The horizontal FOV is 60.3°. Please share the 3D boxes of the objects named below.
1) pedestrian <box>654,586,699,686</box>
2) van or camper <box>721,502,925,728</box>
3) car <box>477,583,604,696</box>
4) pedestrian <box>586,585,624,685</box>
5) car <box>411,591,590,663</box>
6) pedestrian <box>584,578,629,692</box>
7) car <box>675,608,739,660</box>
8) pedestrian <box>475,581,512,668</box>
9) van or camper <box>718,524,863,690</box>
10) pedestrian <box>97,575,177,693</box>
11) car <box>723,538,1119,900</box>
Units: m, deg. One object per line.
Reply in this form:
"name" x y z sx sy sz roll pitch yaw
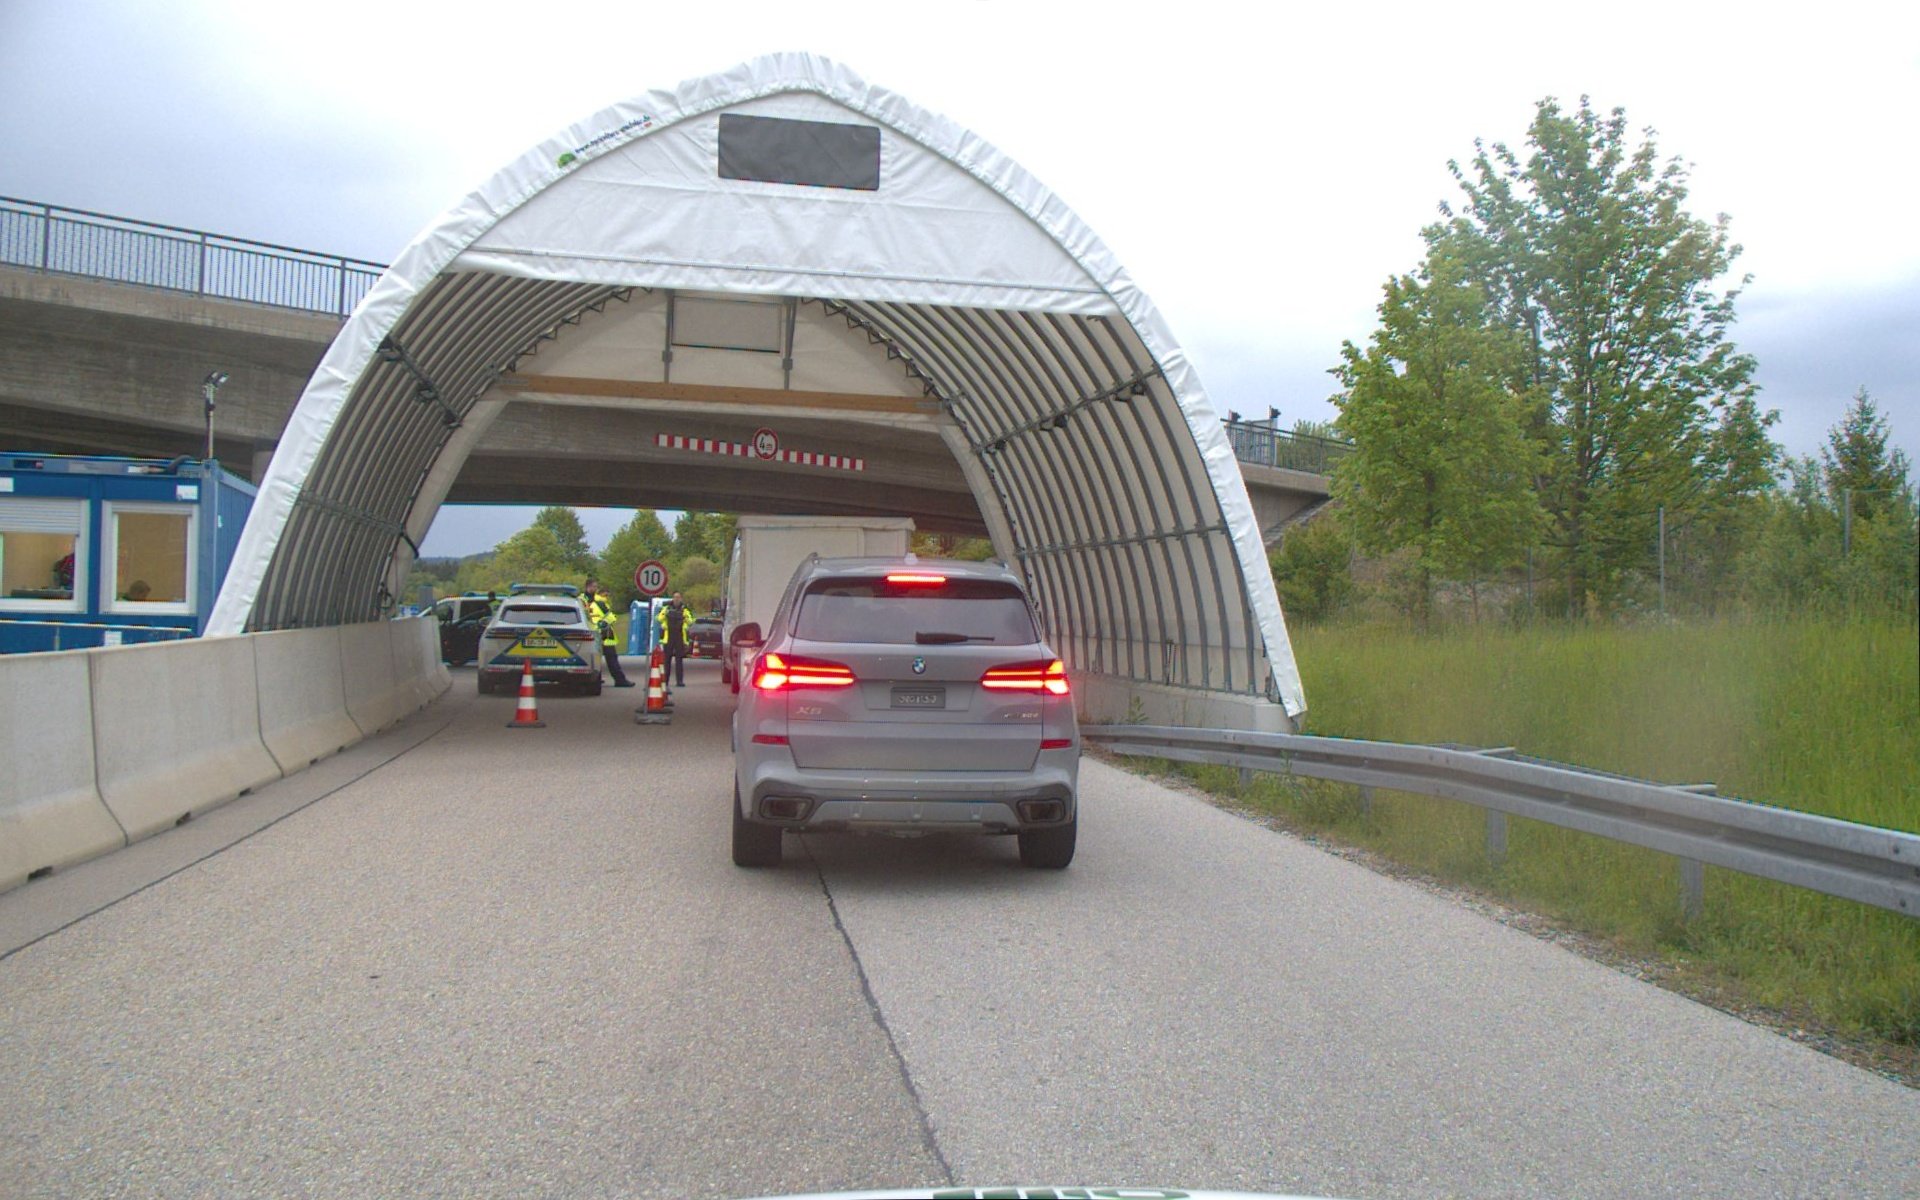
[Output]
"pedestrian" -5.073 0.637 29.542 0.766 1.752 0.754 0 -1 -12
"van or camper" -2.050 0.197 22.461 2.189 2.597 6.595 0 0 -10
"car" -6.759 0.598 26.663 1.846 1.675 3.984 0 0 -15
"pedestrian" -6.400 0.619 29.817 0.597 1.784 0.665 0 -1 -6
"car" -13.500 0.775 48.740 4.703 2.049 1.842 0 -1 7
"pedestrian" -6.176 0.600 28.857 0.736 1.952 0.760 0 -1 -15
"car" -8.975 1.165 58.423 1.959 1.752 3.883 0 0 -13
"pedestrian" -11.176 0.582 39.673 0.686 2.049 0.692 0 -1 -1
"van or camper" -3.018 0.128 28.353 2.065 2.563 5.537 0 0 -10
"pedestrian" -9.850 0.401 19.813 0.597 1.397 0.628 0 -1 8
"car" -0.460 0.605 10.351 1.957 1.796 3.991 0 0 -9
